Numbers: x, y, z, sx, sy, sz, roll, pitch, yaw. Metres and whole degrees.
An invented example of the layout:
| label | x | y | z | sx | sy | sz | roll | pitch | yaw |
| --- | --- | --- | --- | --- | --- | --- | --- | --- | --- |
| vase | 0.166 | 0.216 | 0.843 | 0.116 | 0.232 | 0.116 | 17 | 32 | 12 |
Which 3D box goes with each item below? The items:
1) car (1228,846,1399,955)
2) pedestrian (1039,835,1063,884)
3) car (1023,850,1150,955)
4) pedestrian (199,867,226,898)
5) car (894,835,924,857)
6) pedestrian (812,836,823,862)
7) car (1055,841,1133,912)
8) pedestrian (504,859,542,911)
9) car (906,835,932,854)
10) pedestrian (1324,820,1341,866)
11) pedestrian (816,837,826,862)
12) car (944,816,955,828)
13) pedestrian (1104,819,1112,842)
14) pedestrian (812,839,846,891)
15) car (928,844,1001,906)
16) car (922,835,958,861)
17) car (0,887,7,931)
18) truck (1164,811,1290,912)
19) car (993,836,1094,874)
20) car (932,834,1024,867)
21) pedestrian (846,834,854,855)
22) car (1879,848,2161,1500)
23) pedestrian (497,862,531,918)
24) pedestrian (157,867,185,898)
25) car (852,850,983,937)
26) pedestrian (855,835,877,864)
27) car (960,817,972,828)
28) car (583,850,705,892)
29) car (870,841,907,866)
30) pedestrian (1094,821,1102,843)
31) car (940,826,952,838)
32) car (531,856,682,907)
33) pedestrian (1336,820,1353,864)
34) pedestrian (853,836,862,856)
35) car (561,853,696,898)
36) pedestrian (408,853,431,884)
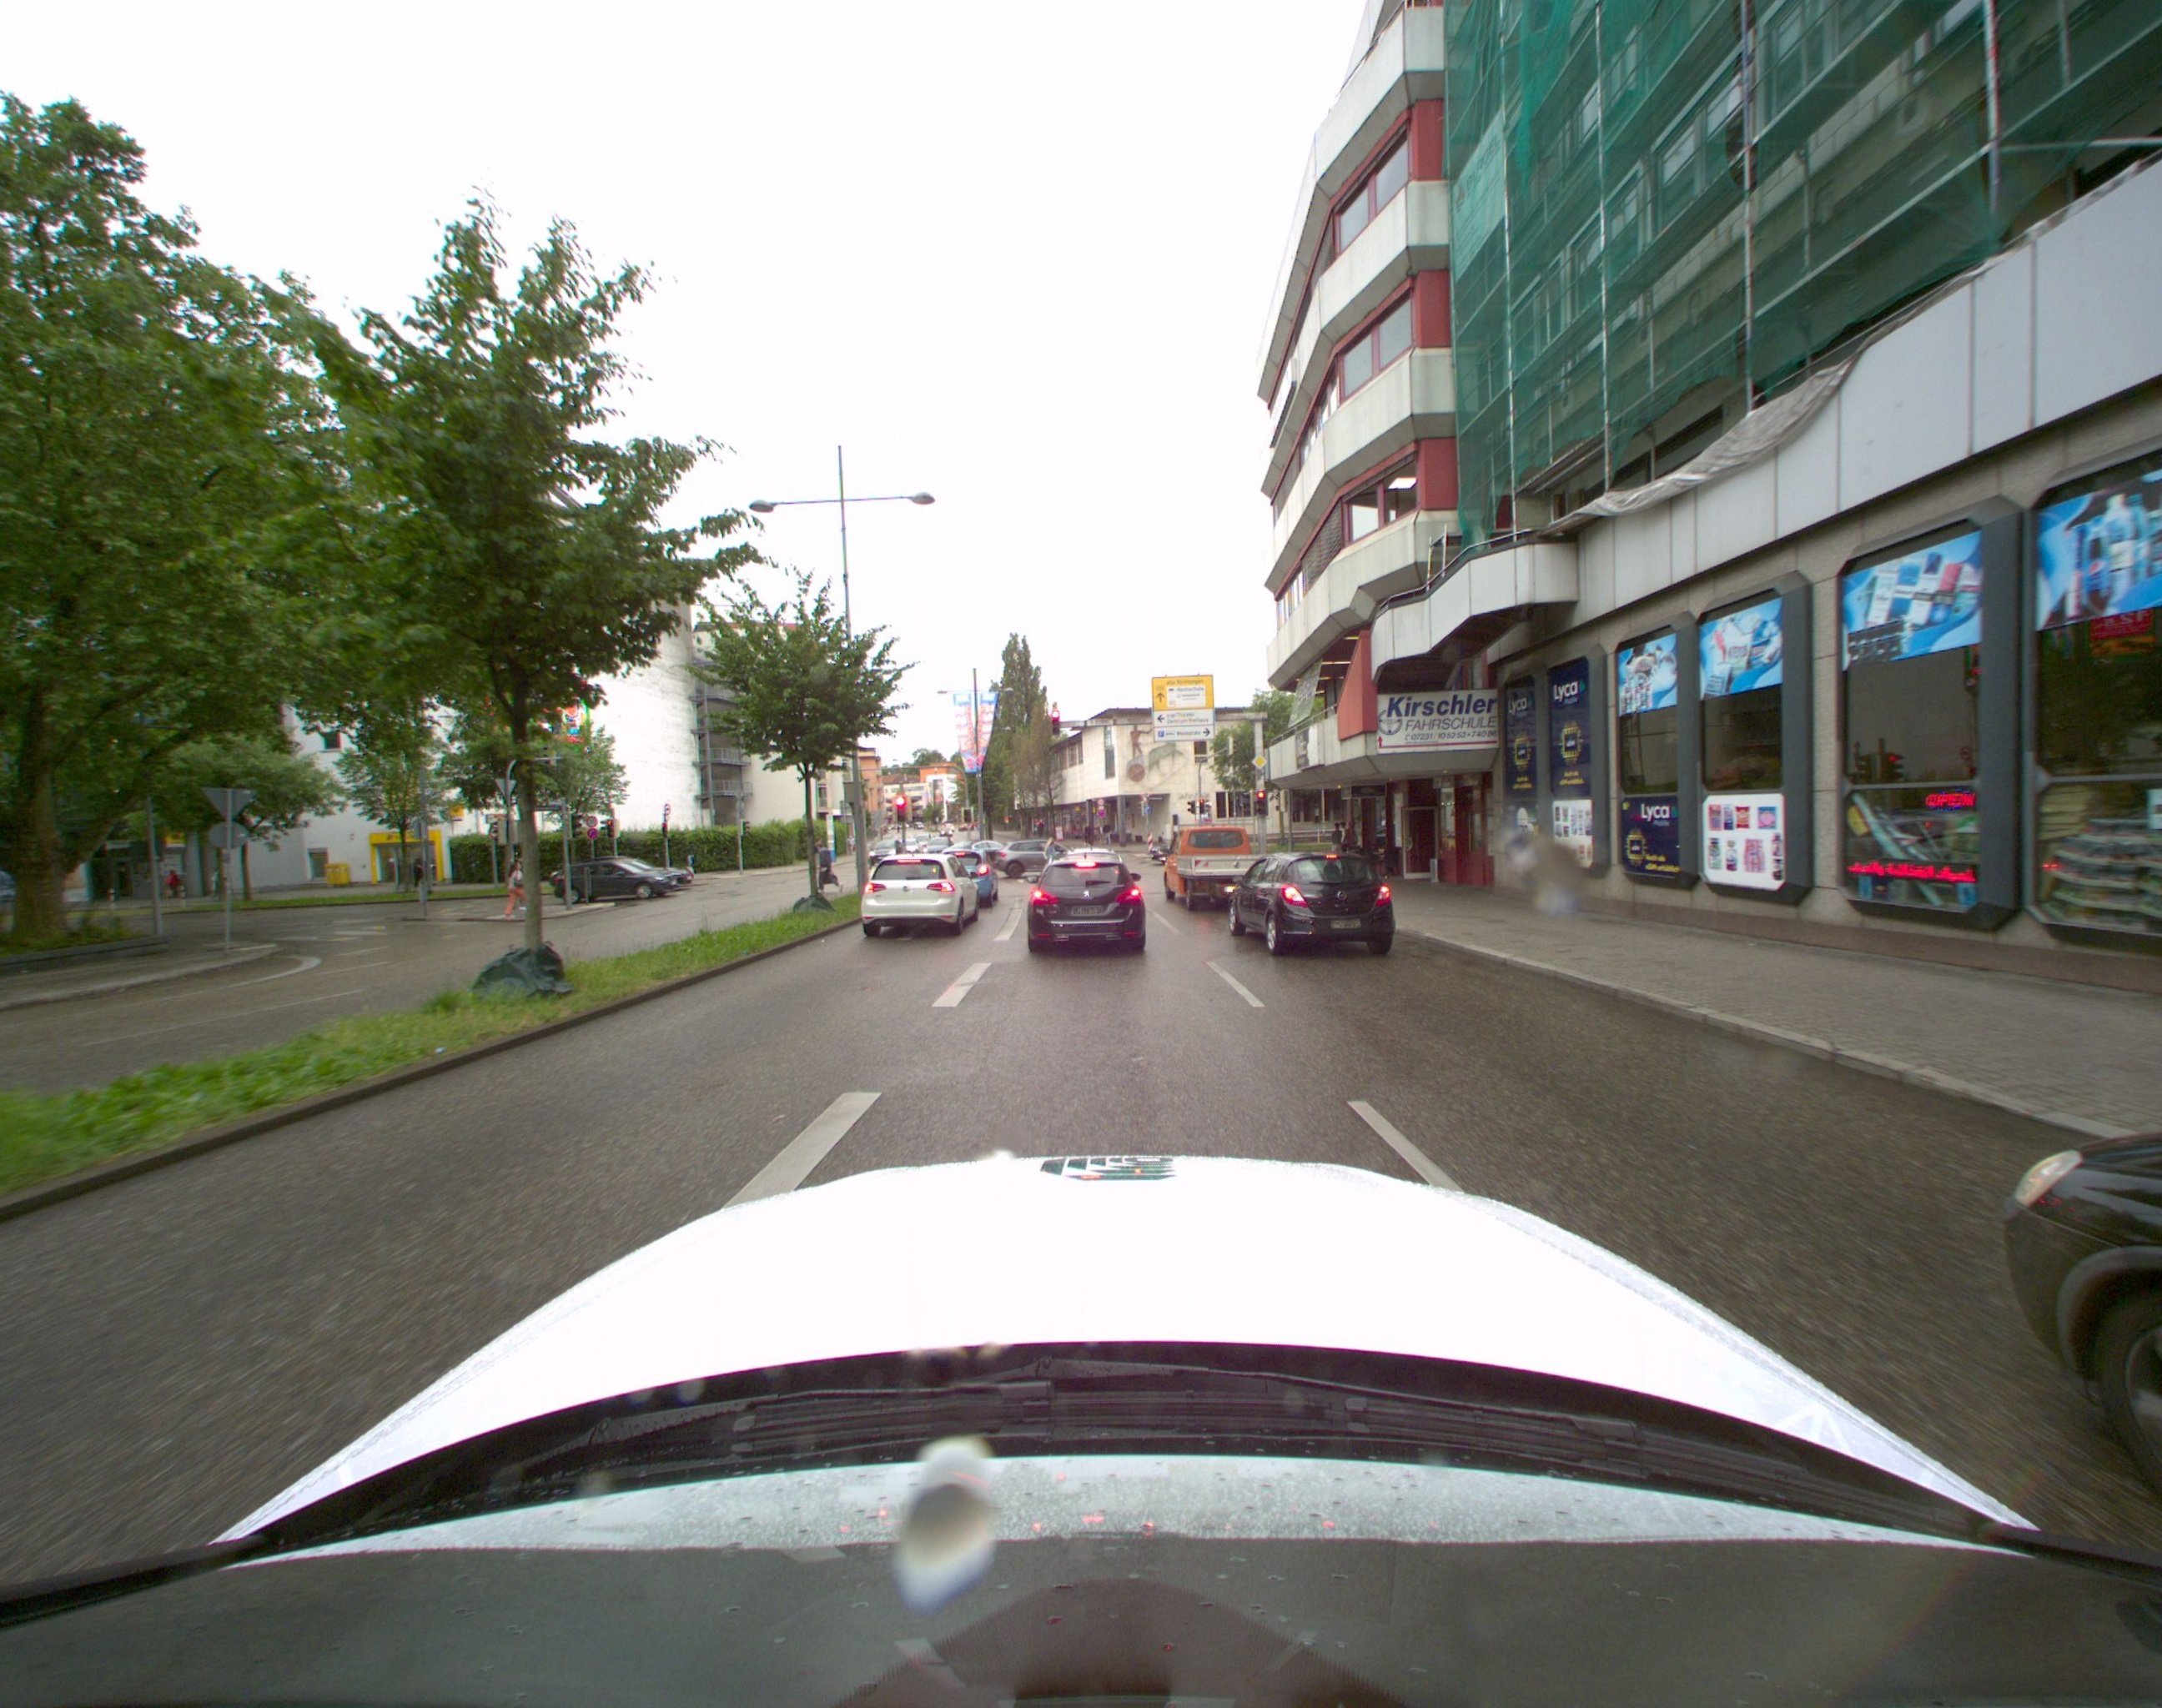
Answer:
| label | x | y | z | sx | sy | sz | roll | pitch | yaw |
| --- | --- | --- | --- | --- | --- | --- | --- | --- | --- |
| car | 3.479 | 0.602 | 12.874 | 1.611 | 1.429 | 3.842 | -1 | 1 | 0 |
| pedestrian | -1.025 | 0.198 | 28.166 | 0.745 | 1.680 | 0.710 | -1 | -1 | 3 |
| car | 0.059 | 0.671 | 13.365 | 1.772 | 1.429 | 3.841 | -1 | 1 | -1 |
| pedestrian | -46.030 | 1.496 | 43.168 | 0.727 | 1.643 | 0.640 | -1 | -1 | 6 |
| car | -12.306 | -0.607 | 58.562 | 1.630 | 1.486 | 3.604 | -1 | 1 | -5 |
| pedestrian | -17.729 | -0.337 | 54.765 | 0.538 | 1.748 | 0.745 | 0 | -1 | -7 |
| car | 0.323 | 0.464 | 19.688 | 1.690 | 1.486 | 3.795 | -1 | 1 | 1 |
| pedestrian | -18.698 | 1.027 | 27.304 | 0.750 | 1.661 | 0.628 | -2 | 2 | 1 |
| car | -13.052 | -0.796 | 65.810 | 1.630 | 1.486 | 3.604 | -1 | 1 | -5 |
| pedestrian | 9.425 | -0.404 | 30.487 | 0.424 | 1.682 | 0.450 | -3 | -1 | 0 |
| pedestrian | -17.985 | -0.315 | 56.255 | 0.538 | 1.748 | 0.564 | 0 | -1 | -4 |
| car | -24.371 | -5.899 | 150.809 | 1.709 | 1.882 | 3.978 | 0 | -1 | -16 |
| pedestrian | 2.284 | -1.959 | 68.501 | 0.633 | 1.897 | 0.735 | -1 | -1 | 8 |
| pedestrian | -8.795 | 0.380 | 28.407 | 0.919 | 1.784 | 0.710 | -1 | -1 | 4 |
| car | -3.049 | 0.496 | 21.875 | 1.629 | 1.486 | 3.605 | -1 | 1 | -3 |
| car | -9.034 | -0.335 | 52.364 | 1.740 | 1.579 | 3.997 | 0 | -1 | -2 |
| car | -40.641 | 2.058 | 28.106 | 4.227 | 1.565 | 1.699 | -3 | 1 | -10 |
| truck | 3.409 | 0.103 | 20.115 | 2.170 | 2.172 | 5.019 | 0 | 1 | -1 |
| car | -1.569 | 0.033 | 33.359 | 3.987 | 1.486 | 1.618 | 0 | -1 | -10 |
| car | -5.026 | -0.143 | 40.339 | 1.708 | 1.490 | 4.763 | -1 | -1 | 36 |
| pedestrian | -20.050 | -0.814 | 70.600 | 0.595 | 1.728 | 0.655 | 0 | -1 | -7 |
| car | 3.130 | 0.725 | 0.630 | 1.600 | 1.429 | 3.625 | -1 | 1 | 2 |
| pedestrian | -17.391 | 1.100 | 24.984 | 0.555 | 1.661 | 0.579 | -2 | 2 | 1 |
| pedestrian | -48.665 | 1.526 | 43.542 | 0.633 | 1.643 | 0.735 | -1 | -1 | 8 |
| car | -3.029 | 0.661 | 15.850 | 1.772 | 1.429 | 3.841 | -1 | 1 | -1 |
| pedestrian | -11.891 | -0.236 | 45.102 | 1.059 | 1.578 | 0.683 | 0 | -1 | -4 |
| car | -21.462 | -5.867 | 151.486 | 1.709 | 1.936 | 3.978 | 0 | -1 | -16 |
| car | -19.933 | 0.743 | 37.330 | 4.494 | 1.454 | 1.786 | -4 | 3 | -11 |
| car | -12.115 | -0.046 | 51.424 | 1.570 | 1.486 | 3.607 | -1 | 1 | -2 |
| pedestrian | 1.418 | -1.815 | 67.893 | 0.633 | 1.758 | 0.735 | -1 | -1 | 8 |
| car | -19.967 | -3.237 | 120.681 | 1.744 | 1.640 | 3.987 | 0 | -1 | -9 |
| car | -17.908 | 1.012 | 30.971 | 4.494 | 1.454 | 1.786 | -4 | 3 | -11 |
| pedestrian | 9.970 | -0.442 | 30.839 | 0.395 | 1.640 | 0.504 | -3 | -1 | 2 |
| pedestrian | -19.481 | -0.720 | 71.024 | 0.595 | 1.728 | 0.655 | 0 | -1 | -7 |
| car | -18.928 | 0.872 | 34.267 | 4.494 | 1.454 | 1.786 | -4 | 3 | -11 |
| pedestrian | -36.112 | 0.782 | 44.450 | 0.730 | 1.643 | 0.638 | 0 | -1 | -6 |
